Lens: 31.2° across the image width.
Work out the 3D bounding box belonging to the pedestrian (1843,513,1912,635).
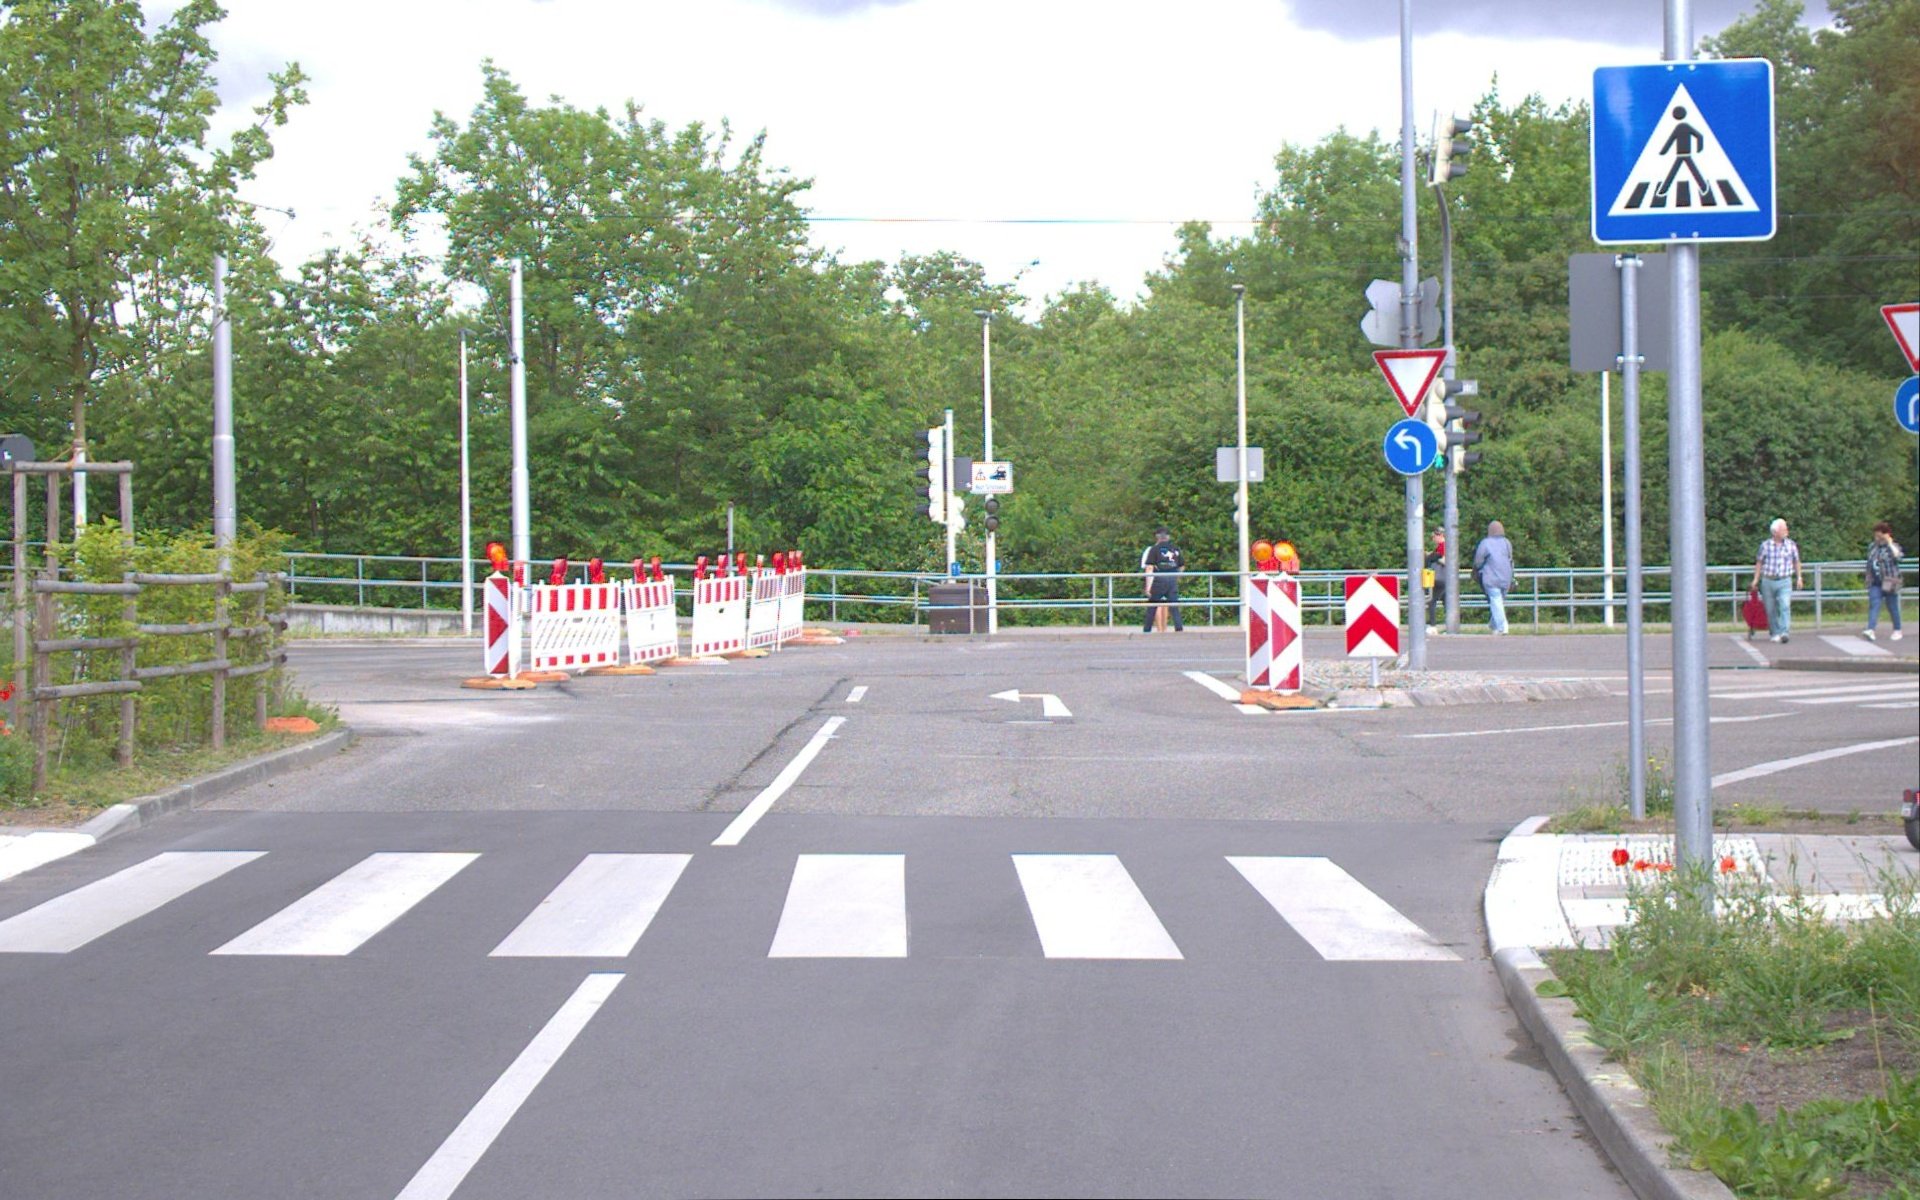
[{"bbox_3d":[11.912,-0.344,44.633,0.691,1.561,0.731,0,1,30],"label":"pedestrian"}]

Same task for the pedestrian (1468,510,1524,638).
[{"bbox_3d":[7.421,-0.363,47.567,0.720,1.742,0.957,0,1,11],"label":"pedestrian"}]

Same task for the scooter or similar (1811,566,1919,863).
[{"bbox_3d":[4.676,0.499,15.846,1.520,1.308,0.572,-1,1,-33],"label":"scooter or similar"}]

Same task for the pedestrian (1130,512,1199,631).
[{"bbox_3d":[3.000,-0.421,50.553,0.954,1.742,0.722,0,1,-1],"label":"pedestrian"}]

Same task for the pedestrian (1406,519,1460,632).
[{"bbox_3d":[6.826,-0.360,49.579,0.720,1.616,0.805,0,1,11],"label":"pedestrian"}]
